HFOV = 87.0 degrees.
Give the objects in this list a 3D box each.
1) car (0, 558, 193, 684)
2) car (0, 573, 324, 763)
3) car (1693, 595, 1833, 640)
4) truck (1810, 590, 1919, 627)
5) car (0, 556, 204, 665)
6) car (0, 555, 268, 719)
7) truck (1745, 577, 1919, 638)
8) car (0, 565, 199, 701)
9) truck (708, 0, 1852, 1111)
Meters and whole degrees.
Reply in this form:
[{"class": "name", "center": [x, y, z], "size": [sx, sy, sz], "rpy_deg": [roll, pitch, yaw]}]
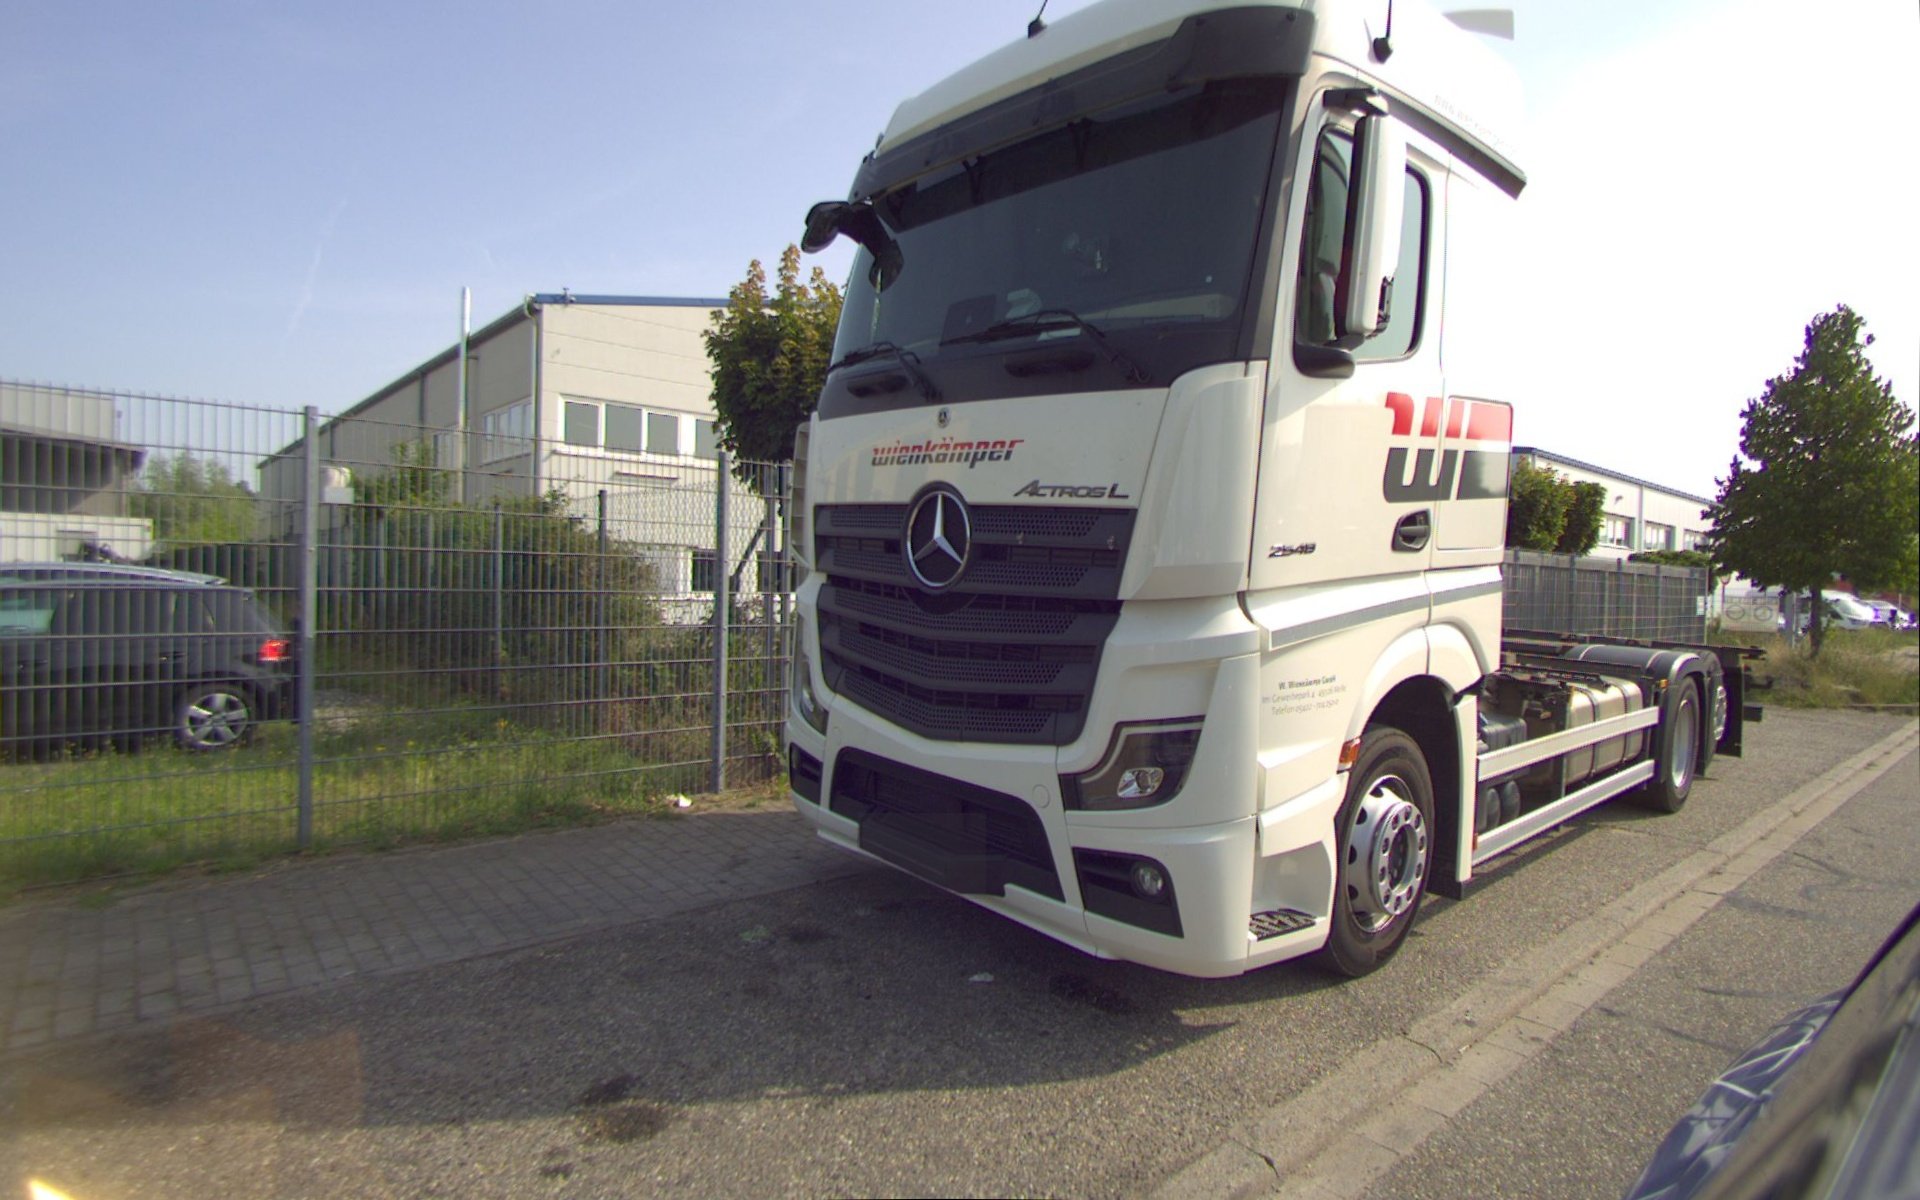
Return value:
[{"class": "car", "center": [-13.725, 0.257, 14.359], "size": [1.889, 1.712, 4.302], "rpy_deg": [2, 1, 44]}, {"class": "car", "center": [-7.848, 0.502, 8.590], "size": [3.929, 1.450, 1.889], "rpy_deg": [0, 1, -40]}, {"class": "car", "center": [30.400, 0.630, 38.457], "size": [1.860, 1.516, 4.005], "rpy_deg": [1, 1, -6]}, {"class": "truck", "center": [54.955, 0.475, 61.019], "size": [2.230, 2.047, 5.837], "rpy_deg": [1, 1, -4]}, {"class": "car", "center": [-15.402, 0.140, 16.820], "size": [1.889, 1.712, 4.302], "rpy_deg": [2, 1, 44]}, {"class": "car", "center": [-9.806, 0.331, 10.508], "size": [1.889, 1.576, 4.037], "rpy_deg": [2, 1, 44]}, {"class": "truck", "center": [39.795, 0.254, 46.337], "size": [2.229, 2.562, 6.223], "rpy_deg": [1, 1, -9]}, {"class": "car", "center": [-11.971, 0.354, 12.134], "size": [1.889, 1.576, 4.302], "rpy_deg": [2, 1, 44]}, {"class": "truck", "center": [3.342, -0.744, 6.829], "size": [9.519, 4.064, 2.751], "rpy_deg": [1, 3, -42]}]
